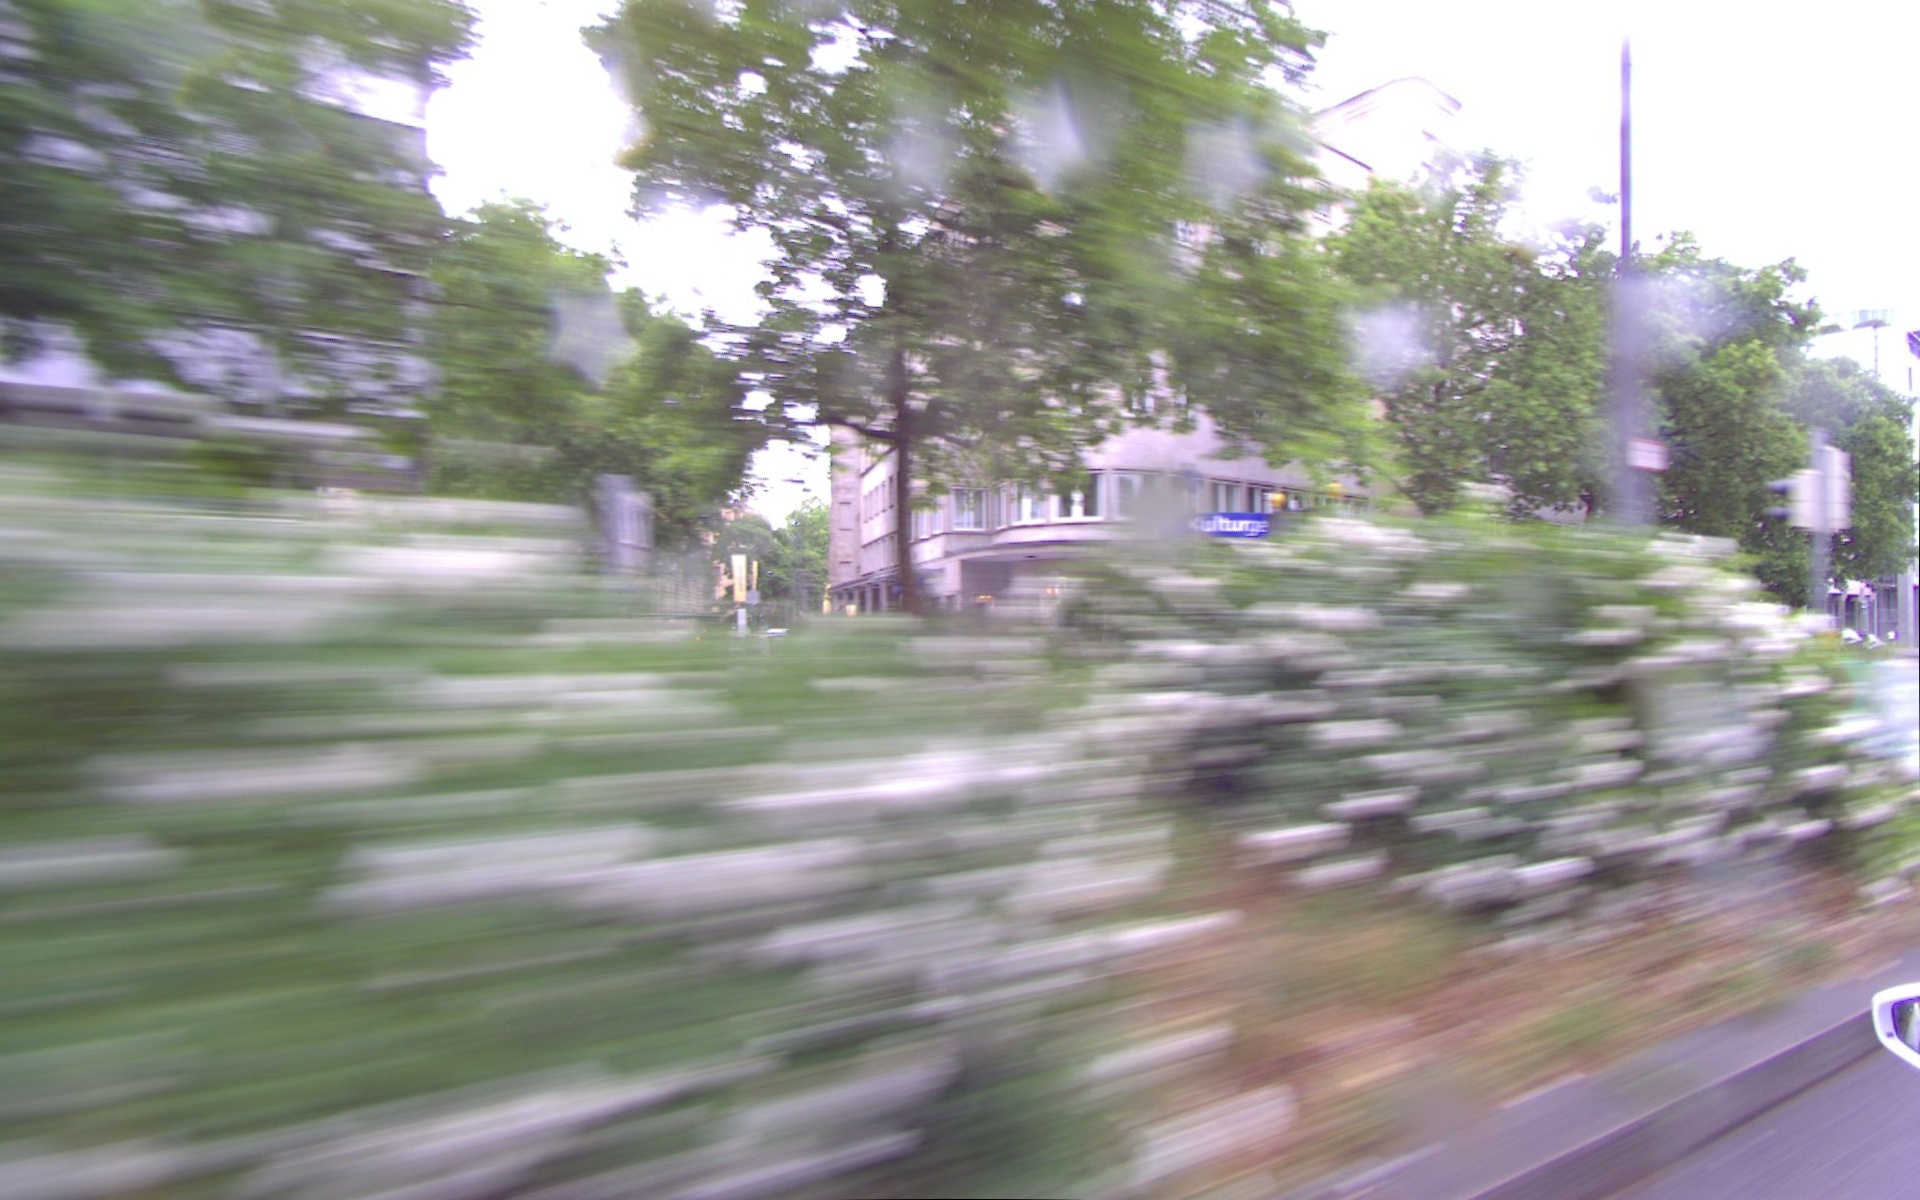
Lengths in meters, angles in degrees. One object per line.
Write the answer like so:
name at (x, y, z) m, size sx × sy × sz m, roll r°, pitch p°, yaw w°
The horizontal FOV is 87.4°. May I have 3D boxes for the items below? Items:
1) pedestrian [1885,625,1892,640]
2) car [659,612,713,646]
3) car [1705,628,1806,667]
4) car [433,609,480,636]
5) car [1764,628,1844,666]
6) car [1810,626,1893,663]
pedestrian at (88.954, 3.089, 96.194) m, size 0.403 × 1.414 × 0.390 m, roll 1°, pitch 0°, yaw -33°
car at (-10.442, 1.088, 38.202) m, size 1.495 × 1.193 × 3.393 m, roll 1°, pitch -1°, yaw -23°
car at (31.823, 1.898, 40.155) m, size 4.623 × 1.453 × 1.758 m, roll 1°, pitch -4°, yaw -34°
car at (-30.481, 1.350, 60.902) m, size 1.715 × 1.572 × 3.971 m, roll 1°, pitch 0°, yaw -14°
car at (36.121, 1.998, 42.958) m, size 3.589 × 1.539 × 1.677 m, roll 1°, pitch -4°, yaw -35°
car at (42.501, 2.107, 47.853) m, size 4.792 × 1.674 × 1.758 m, roll 1°, pitch -4°, yaw -34°
